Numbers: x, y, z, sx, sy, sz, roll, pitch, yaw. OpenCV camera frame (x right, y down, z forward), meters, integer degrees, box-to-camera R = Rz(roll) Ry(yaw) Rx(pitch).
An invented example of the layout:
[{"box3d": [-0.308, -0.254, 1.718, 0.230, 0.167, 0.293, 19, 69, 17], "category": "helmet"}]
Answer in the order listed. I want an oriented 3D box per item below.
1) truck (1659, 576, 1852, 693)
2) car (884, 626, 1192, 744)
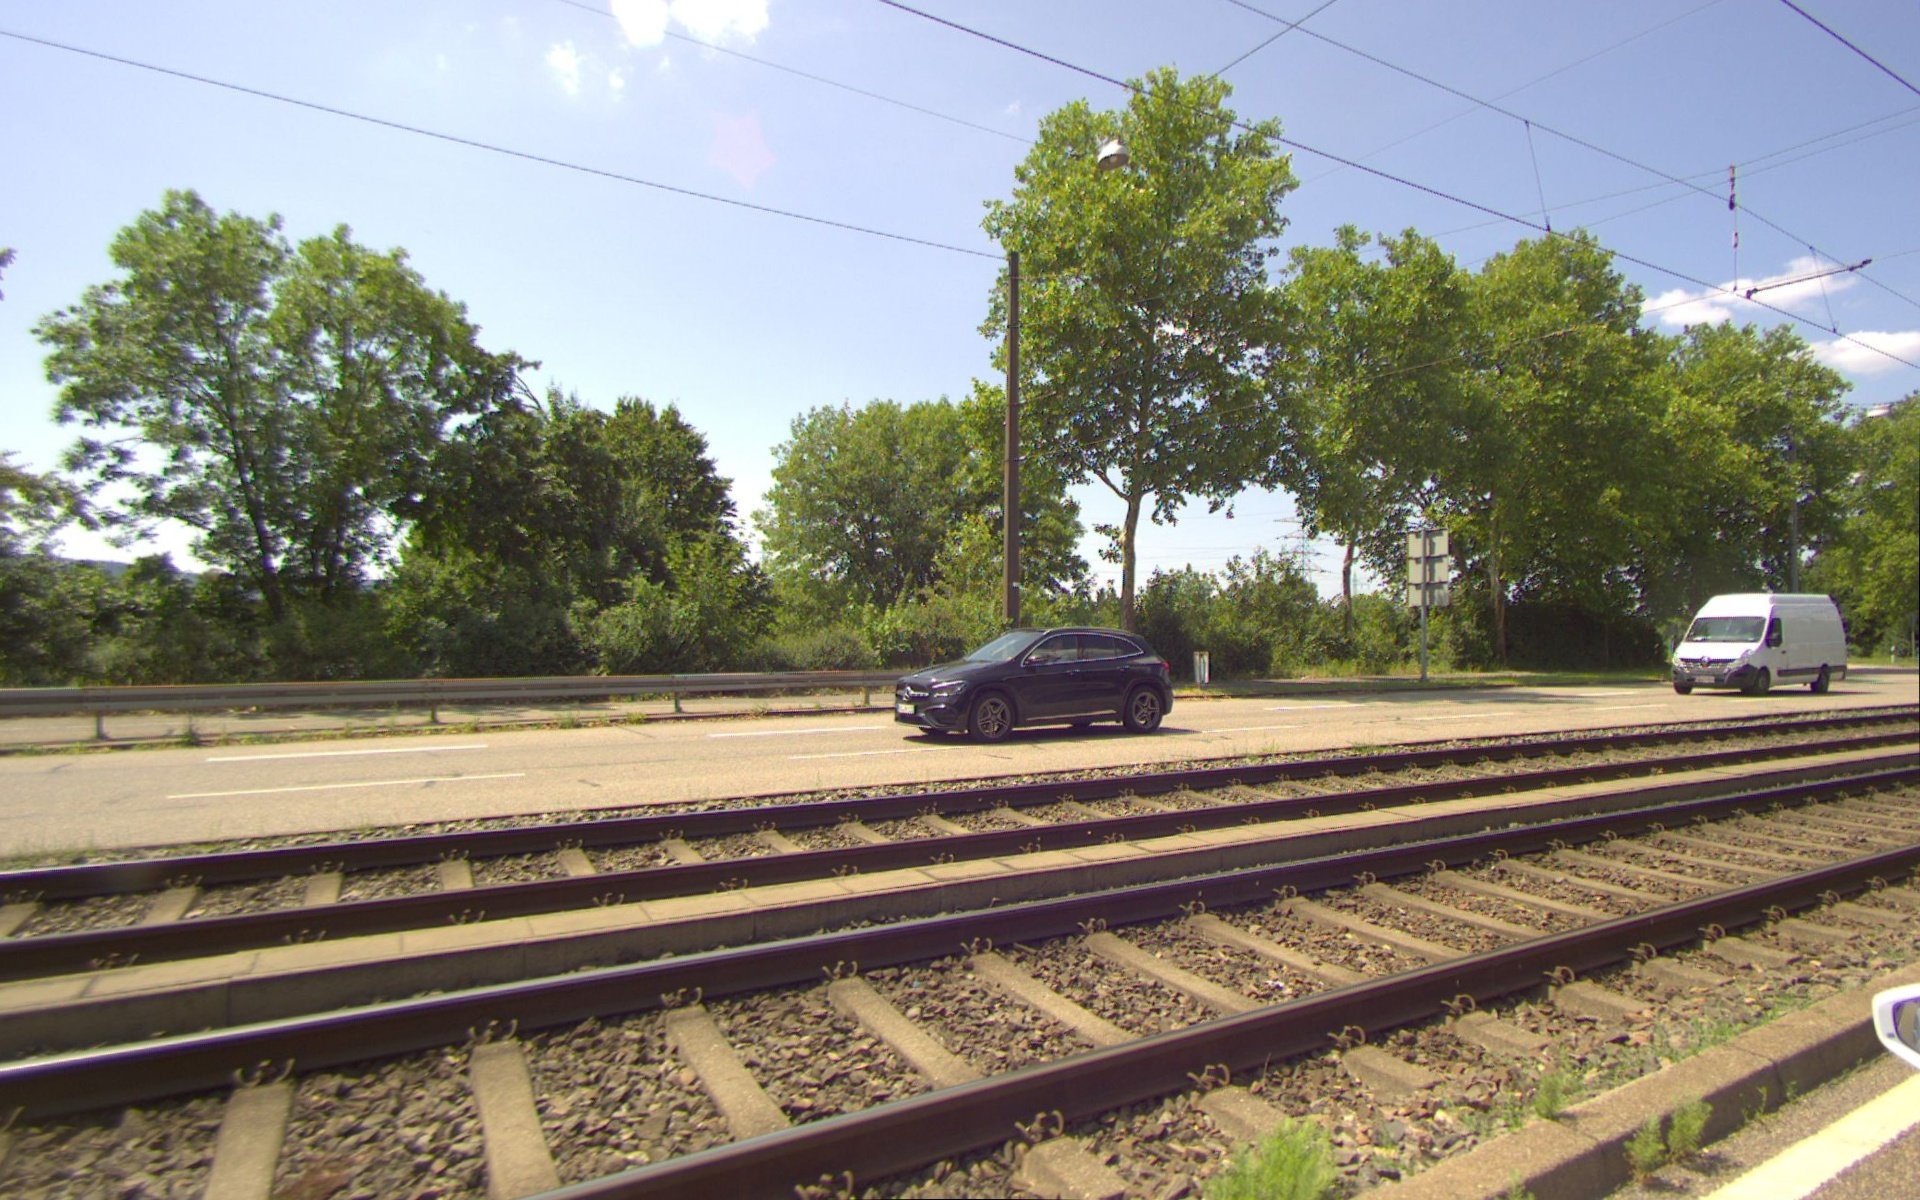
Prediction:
[{"box3d": [22.290, 0.985, 28.069, 6.244, 2.977, 2.045, 1, -3, -30], "category": "truck"}, {"box3d": [1.215, 1.190, 15.057, 4.375, 1.534, 1.809, 1, -2, -30], "category": "car"}]
